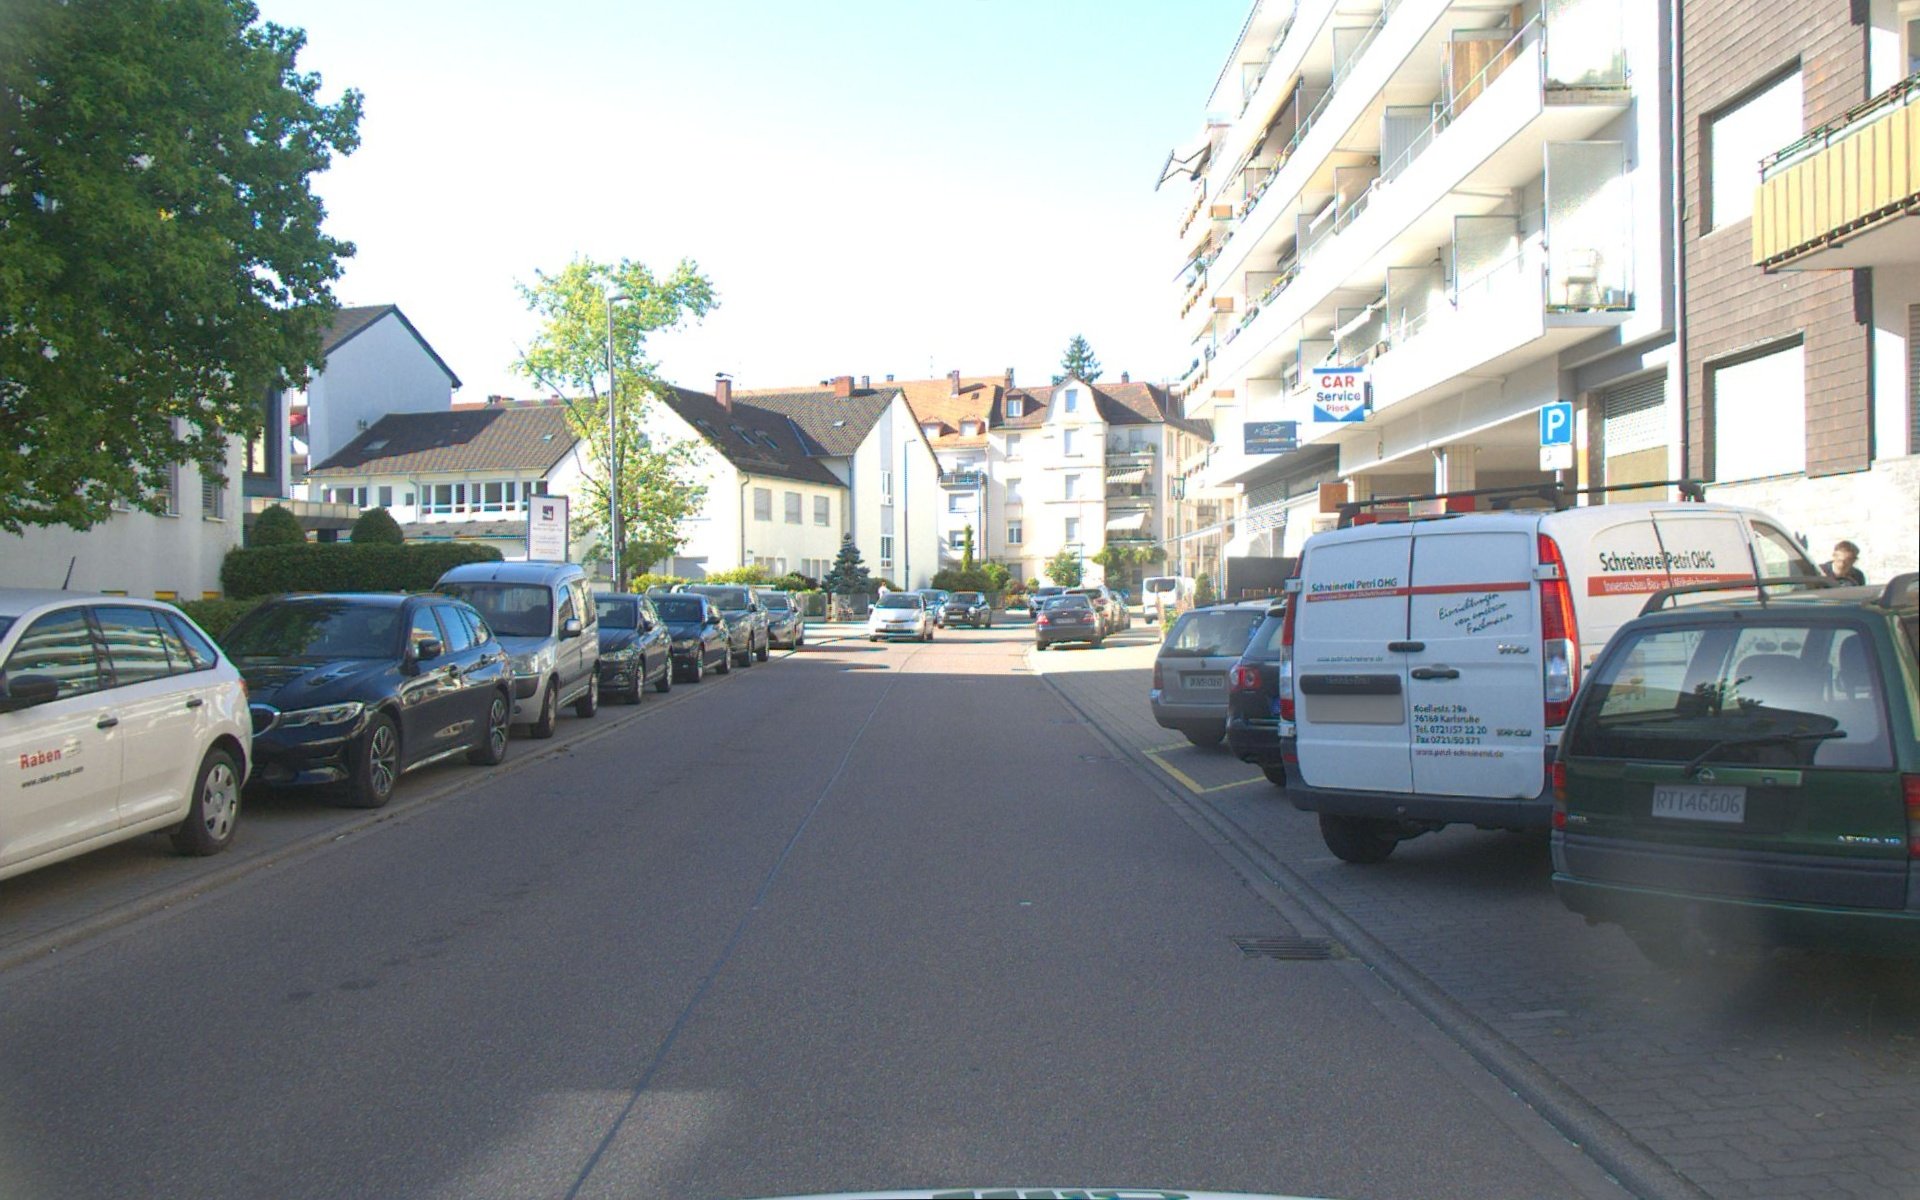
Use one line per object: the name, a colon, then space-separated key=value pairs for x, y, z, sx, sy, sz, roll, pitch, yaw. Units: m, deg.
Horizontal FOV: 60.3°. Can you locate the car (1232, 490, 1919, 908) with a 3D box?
car: x=3.885 y=0.428 z=9.908 sx=4.492 sy=1.931 sz=2.019 roll=-3 pitch=-1 yaw=-42

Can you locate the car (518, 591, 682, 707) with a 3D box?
car: x=-4.889 y=0.617 z=22.939 sx=1.566 sy=1.466 sz=3.998 roll=0 pitch=0 yaw=-3

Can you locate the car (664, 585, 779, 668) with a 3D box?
car: x=-4.869 y=0.496 z=34.347 sx=1.684 sy=1.614 sz=4.422 roll=0 pitch=0 yaw=1

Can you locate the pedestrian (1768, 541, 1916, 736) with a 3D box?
pedestrian: x=7.680 y=0.328 z=14.444 sx=0.815 sy=1.621 sz=0.889 roll=-2 pitch=-1 yaw=4

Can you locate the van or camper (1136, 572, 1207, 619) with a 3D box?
van or camper: x=9.601 y=-0.213 z=74.643 sx=1.979 sy=1.981 sz=4.703 roll=-3 pitch=0 yaw=22

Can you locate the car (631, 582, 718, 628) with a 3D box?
car: x=-10.619 y=0.213 z=61.601 sx=1.763 sy=1.583 sz=3.187 roll=-1 pitch=-2 yaw=23

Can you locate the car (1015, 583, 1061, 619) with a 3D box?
car: x=4.120 y=0.083 z=86.779 sx=1.878 sy=1.755 sz=4.340 roll=-1 pitch=-2 yaw=10

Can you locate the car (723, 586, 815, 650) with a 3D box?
car: x=-5.032 y=0.431 z=44.094 sx=1.953 sy=1.561 sz=4.917 roll=0 pitch=1 yaw=-1

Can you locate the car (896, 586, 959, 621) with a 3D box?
car: x=-1.394 y=0.127 z=73.294 sx=1.759 sy=1.499 sz=4.334 roll=1 pitch=1 yaw=13

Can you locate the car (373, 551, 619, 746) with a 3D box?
car: x=-4.933 y=0.445 z=18.161 sx=1.654 sy=1.871 sz=4.339 roll=0 pitch=0 yaw=-3

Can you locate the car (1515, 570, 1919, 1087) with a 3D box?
car: x=4.165 y=0.621 z=6.480 sx=3.947 sy=1.515 sz=1.598 roll=-3 pitch=-1 yaw=-33

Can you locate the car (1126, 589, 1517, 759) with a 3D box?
car: x=3.883 y=0.687 z=17.237 sx=4.611 sy=1.491 sz=1.664 roll=-1 pitch=-1 yaw=-44

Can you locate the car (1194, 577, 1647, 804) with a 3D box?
car: x=3.904 y=0.623 z=13.555 sx=1.727 sy=1.539 sz=4.297 roll=-2 pitch=-1 yaw=44

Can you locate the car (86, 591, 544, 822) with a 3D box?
car: x=-4.725 y=0.678 z=12.937 sx=1.697 sy=1.465 sz=4.612 roll=-1 pitch=0 yaw=1

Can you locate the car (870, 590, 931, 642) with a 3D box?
car: x=-1.805 y=0.470 z=51.338 sx=1.690 sy=1.511 sz=4.106 roll=0 pitch=0 yaw=1

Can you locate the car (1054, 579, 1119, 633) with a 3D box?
car: x=4.381 y=0.242 z=56.627 sx=1.778 sy=1.682 sz=4.563 roll=-1 pitch=-2 yaw=10

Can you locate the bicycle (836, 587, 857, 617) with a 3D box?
bicycle: x=-5.028 y=0.108 z=73.575 sx=0.446 sy=1.272 sz=1.929 roll=-1 pitch=-2 yaw=11

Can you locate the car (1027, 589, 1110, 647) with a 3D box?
car: x=3.030 y=0.483 z=45.236 sx=1.929 sy=1.476 sz=5.007 roll=-1 pitch=0 yaw=7

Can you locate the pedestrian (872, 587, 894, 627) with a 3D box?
pedestrian: x=-3.385 y=0.313 z=72.761 sx=0.668 sy=1.733 sz=0.824 roll=-1 pitch=-2 yaw=21

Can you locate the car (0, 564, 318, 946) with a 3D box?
car: x=-4.897 y=0.648 z=8.062 sx=1.870 sy=1.557 sz=4.622 roll=0 pitch=0 yaw=-2

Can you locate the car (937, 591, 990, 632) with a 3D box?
car: x=0.176 y=0.475 z=67.135 sx=1.703 sy=1.539 sz=3.732 roll=-1 pitch=-2 yaw=7

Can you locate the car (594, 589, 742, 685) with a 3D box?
car: x=-4.906 y=0.568 z=28.367 sx=1.690 sy=1.490 sz=4.440 roll=0 pitch=0 yaw=1
